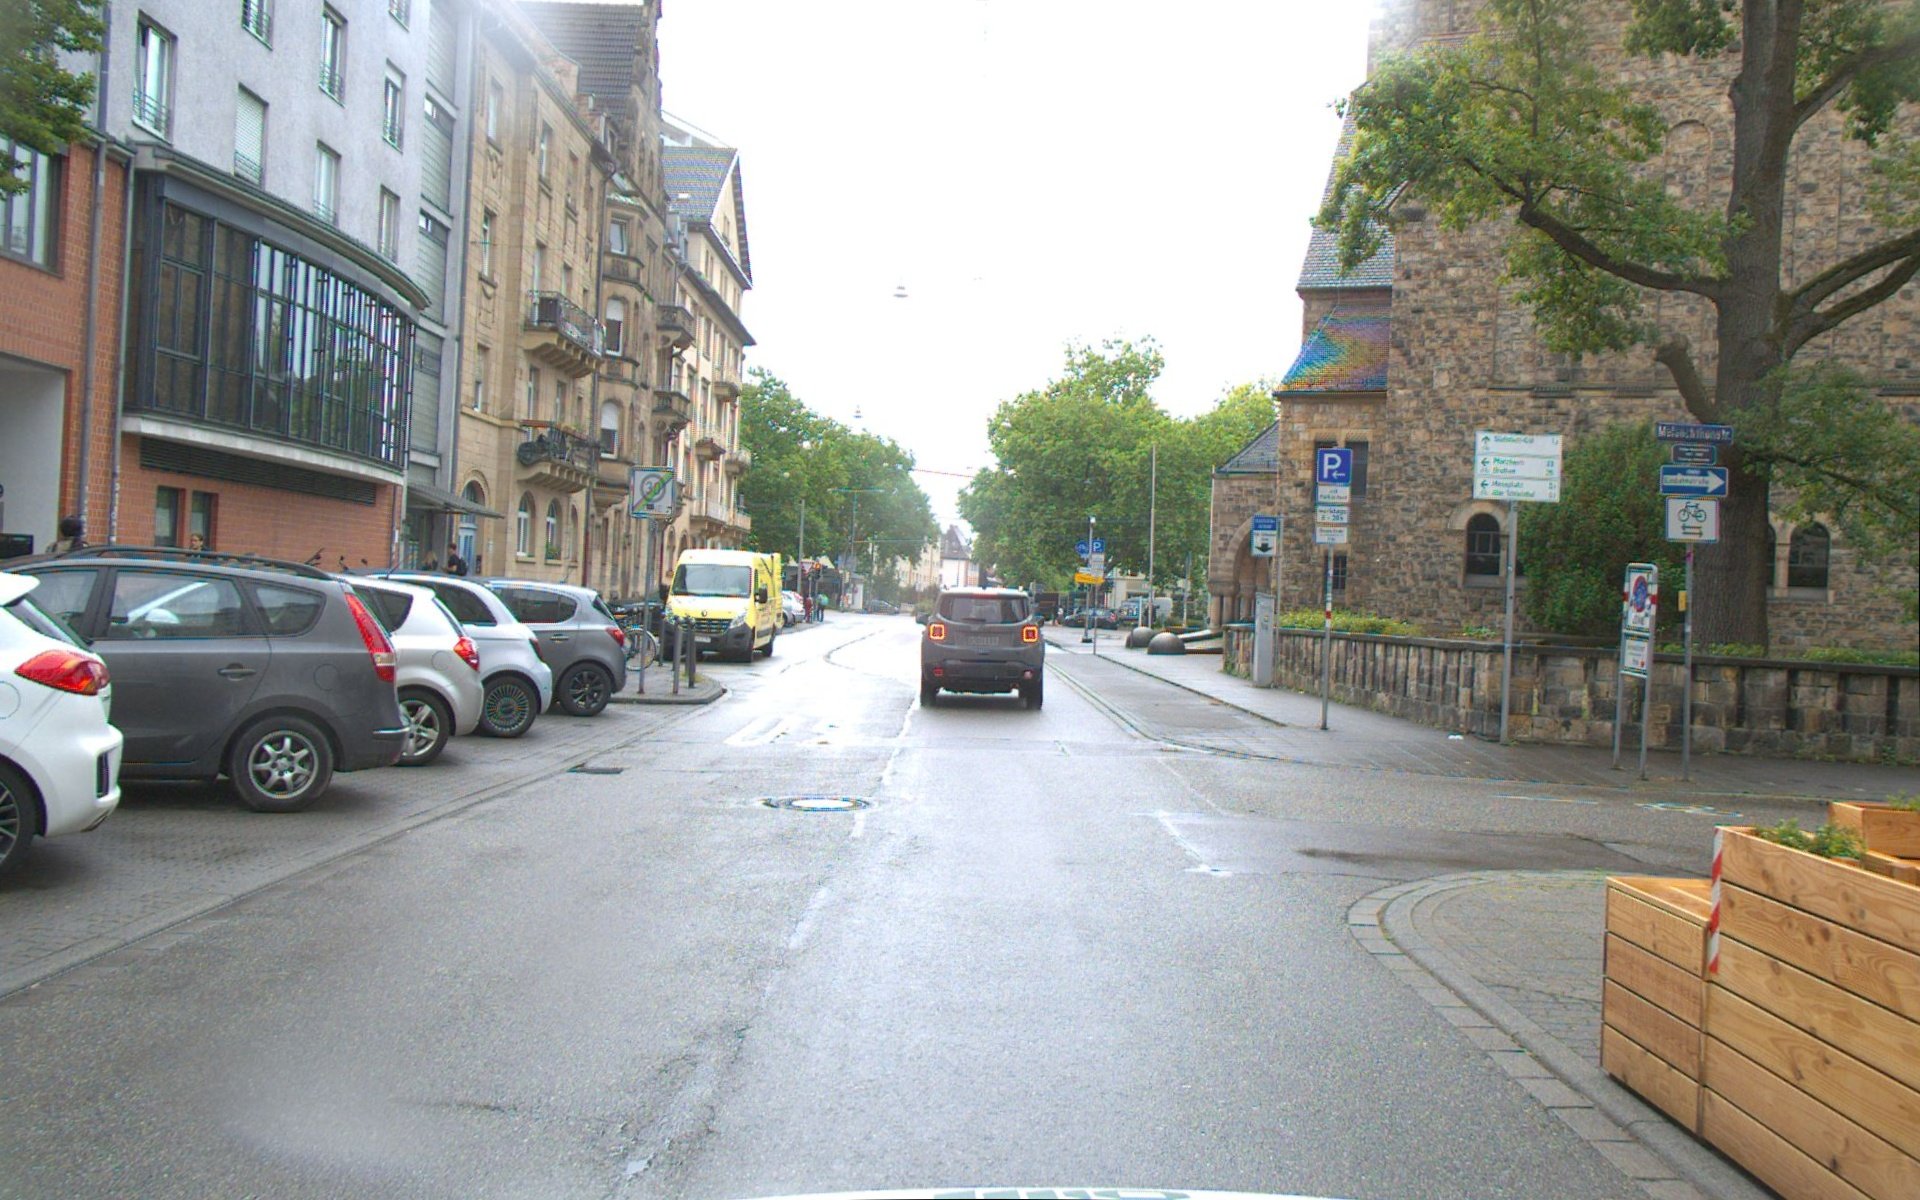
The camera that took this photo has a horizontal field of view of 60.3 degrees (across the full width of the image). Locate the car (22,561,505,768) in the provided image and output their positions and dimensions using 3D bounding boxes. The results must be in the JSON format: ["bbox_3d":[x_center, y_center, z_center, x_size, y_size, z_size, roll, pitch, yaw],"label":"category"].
[{"bbox_3d":[-5.659,0.524,13.523,3.345,1.483,1.661,3,-1,-34],"label":"car"}]

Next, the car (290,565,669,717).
[{"bbox_3d":[-5.499,0.479,18.996,3.779,1.533,1.969,3,-1,-31],"label":"car"}]

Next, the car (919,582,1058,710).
[{"bbox_3d":[0.345,0.636,24.928,1.860,1.700,4.504,2,0,-1],"label":"car"}]

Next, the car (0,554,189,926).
[{"bbox_3d":[-5.981,0.420,7.104,4.469,1.566,2.311,7,-3,-33],"label":"car"}]

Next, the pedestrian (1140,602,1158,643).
[{"bbox_3d":[8.297,0.989,72.530,0.676,1.741,0.684,2,0,0],"label":"pedestrian"}]

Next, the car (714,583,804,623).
[{"bbox_3d":[-9.175,0.138,75.475,3.696,1.586,1.653,4,-1,-34],"label":"car"}]

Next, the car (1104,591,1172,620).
[{"bbox_3d":[15.526,0.500,144.591,5.780,2.375,2.060,2,0,3],"label":"car"}]

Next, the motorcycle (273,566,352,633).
[{"bbox_3d":[-12.672,-0.012,32.423,0.738,1.194,2.114,5,0,-4],"label":"motorcycle"}]

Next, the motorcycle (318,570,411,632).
[{"bbox_3d":[-12.407,0.044,34.547,0.737,1.194,2.117,5,0,12],"label":"motorcycle"}]

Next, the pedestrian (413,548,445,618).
[{"bbox_3d":[-13.242,-0.420,41.215,0.651,1.704,0.791,2,0,-24],"label":"pedestrian"}]

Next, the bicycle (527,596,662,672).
[{"bbox_3d":[-6.134,0.567,27.842,2.073,1.116,0.594,4,0,0],"label":"bicycle"}]

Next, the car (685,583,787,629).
[{"bbox_3d":[-9.003,0.261,66.542,3.625,1.586,1.786,4,-1,-37],"label":"car"}]

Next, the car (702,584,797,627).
[{"bbox_3d":[-8.856,0.225,69.742,3.465,1.544,1.864,4,-1,-34],"label":"car"}]

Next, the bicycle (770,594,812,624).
[{"bbox_3d":[-8.502,0.439,83.266,2.062,1.469,0.488,2,0,-21],"label":"bicycle"}]

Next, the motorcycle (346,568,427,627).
[{"bbox_3d":[-12.581,-0.036,36.343,0.560,1.194,1.780,4,0,23],"label":"motorcycle"}]

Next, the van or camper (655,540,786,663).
[{"bbox_3d":[-5.469,0.141,38.659,2.078,2.575,6.873,-1,-2,0],"label":"van or camper"}]

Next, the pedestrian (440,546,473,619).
[{"bbox_3d":[-12.634,-0.442,41.496,0.651,1.788,0.791,2,0,-24],"label":"pedestrian"}]

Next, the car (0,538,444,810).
[{"bbox_3d":[-5.256,0.449,10.665,3.341,1.569,1.663,3,-1,-32],"label":"car"}]

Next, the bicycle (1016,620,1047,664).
[{"bbox_3d":[1.850,1.075,43.053,0.690,1.072,1.813,2,0,0],"label":"bicycle"}]

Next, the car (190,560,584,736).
[{"bbox_3d":[-5.599,0.474,16.212,3.340,1.533,1.664,3,-1,-31],"label":"car"}]

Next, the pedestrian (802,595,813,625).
[{"bbox_3d":[-8.289,0.527,89.854,0.458,1.613,0.659,2,0,-1],"label":"pedestrian"}]

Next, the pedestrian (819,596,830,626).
[{"bbox_3d":[-7.417,0.586,90.516,0.458,1.613,0.752,2,0,-1],"label":"pedestrian"}]

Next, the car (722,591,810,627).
[{"bbox_3d":[-8.554,0.377,72.855,3.382,1.339,1.759,4,-1,-34],"label":"car"}]

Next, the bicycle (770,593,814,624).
[{"bbox_3d":[-8.362,0.410,82.275,2.079,1.469,0.536,2,0,-21],"label":"bicycle"}]

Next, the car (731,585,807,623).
[{"bbox_3d":[-9.106,0.209,78.779,3.216,1.586,1.517,4,-1,-34],"label":"car"}]

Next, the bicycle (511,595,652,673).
[{"bbox_3d":[-6.170,0.545,27.017,2.089,1.116,0.594,4,0,0],"label":"bicycle"}]

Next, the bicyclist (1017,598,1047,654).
[{"bbox_3d":[1.864,0.666,43.056,0.690,1.428,1.171,2,0,0],"label":"bicyclist"}]

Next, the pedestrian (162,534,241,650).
[{"bbox_3d":[-10.810,-0.112,23.583,0.694,1.578,0.608,5,0,7],"label":"pedestrian"}]

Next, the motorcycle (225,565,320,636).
[{"bbox_3d":[-12.554,0.015,30.272,0.738,1.194,2.116,5,0,0],"label":"motorcycle"}]

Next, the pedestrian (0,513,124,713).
[{"bbox_3d":[-8.549,0.116,15.561,0.808,1.782,0.757,5,0,7],"label":"pedestrian"}]
